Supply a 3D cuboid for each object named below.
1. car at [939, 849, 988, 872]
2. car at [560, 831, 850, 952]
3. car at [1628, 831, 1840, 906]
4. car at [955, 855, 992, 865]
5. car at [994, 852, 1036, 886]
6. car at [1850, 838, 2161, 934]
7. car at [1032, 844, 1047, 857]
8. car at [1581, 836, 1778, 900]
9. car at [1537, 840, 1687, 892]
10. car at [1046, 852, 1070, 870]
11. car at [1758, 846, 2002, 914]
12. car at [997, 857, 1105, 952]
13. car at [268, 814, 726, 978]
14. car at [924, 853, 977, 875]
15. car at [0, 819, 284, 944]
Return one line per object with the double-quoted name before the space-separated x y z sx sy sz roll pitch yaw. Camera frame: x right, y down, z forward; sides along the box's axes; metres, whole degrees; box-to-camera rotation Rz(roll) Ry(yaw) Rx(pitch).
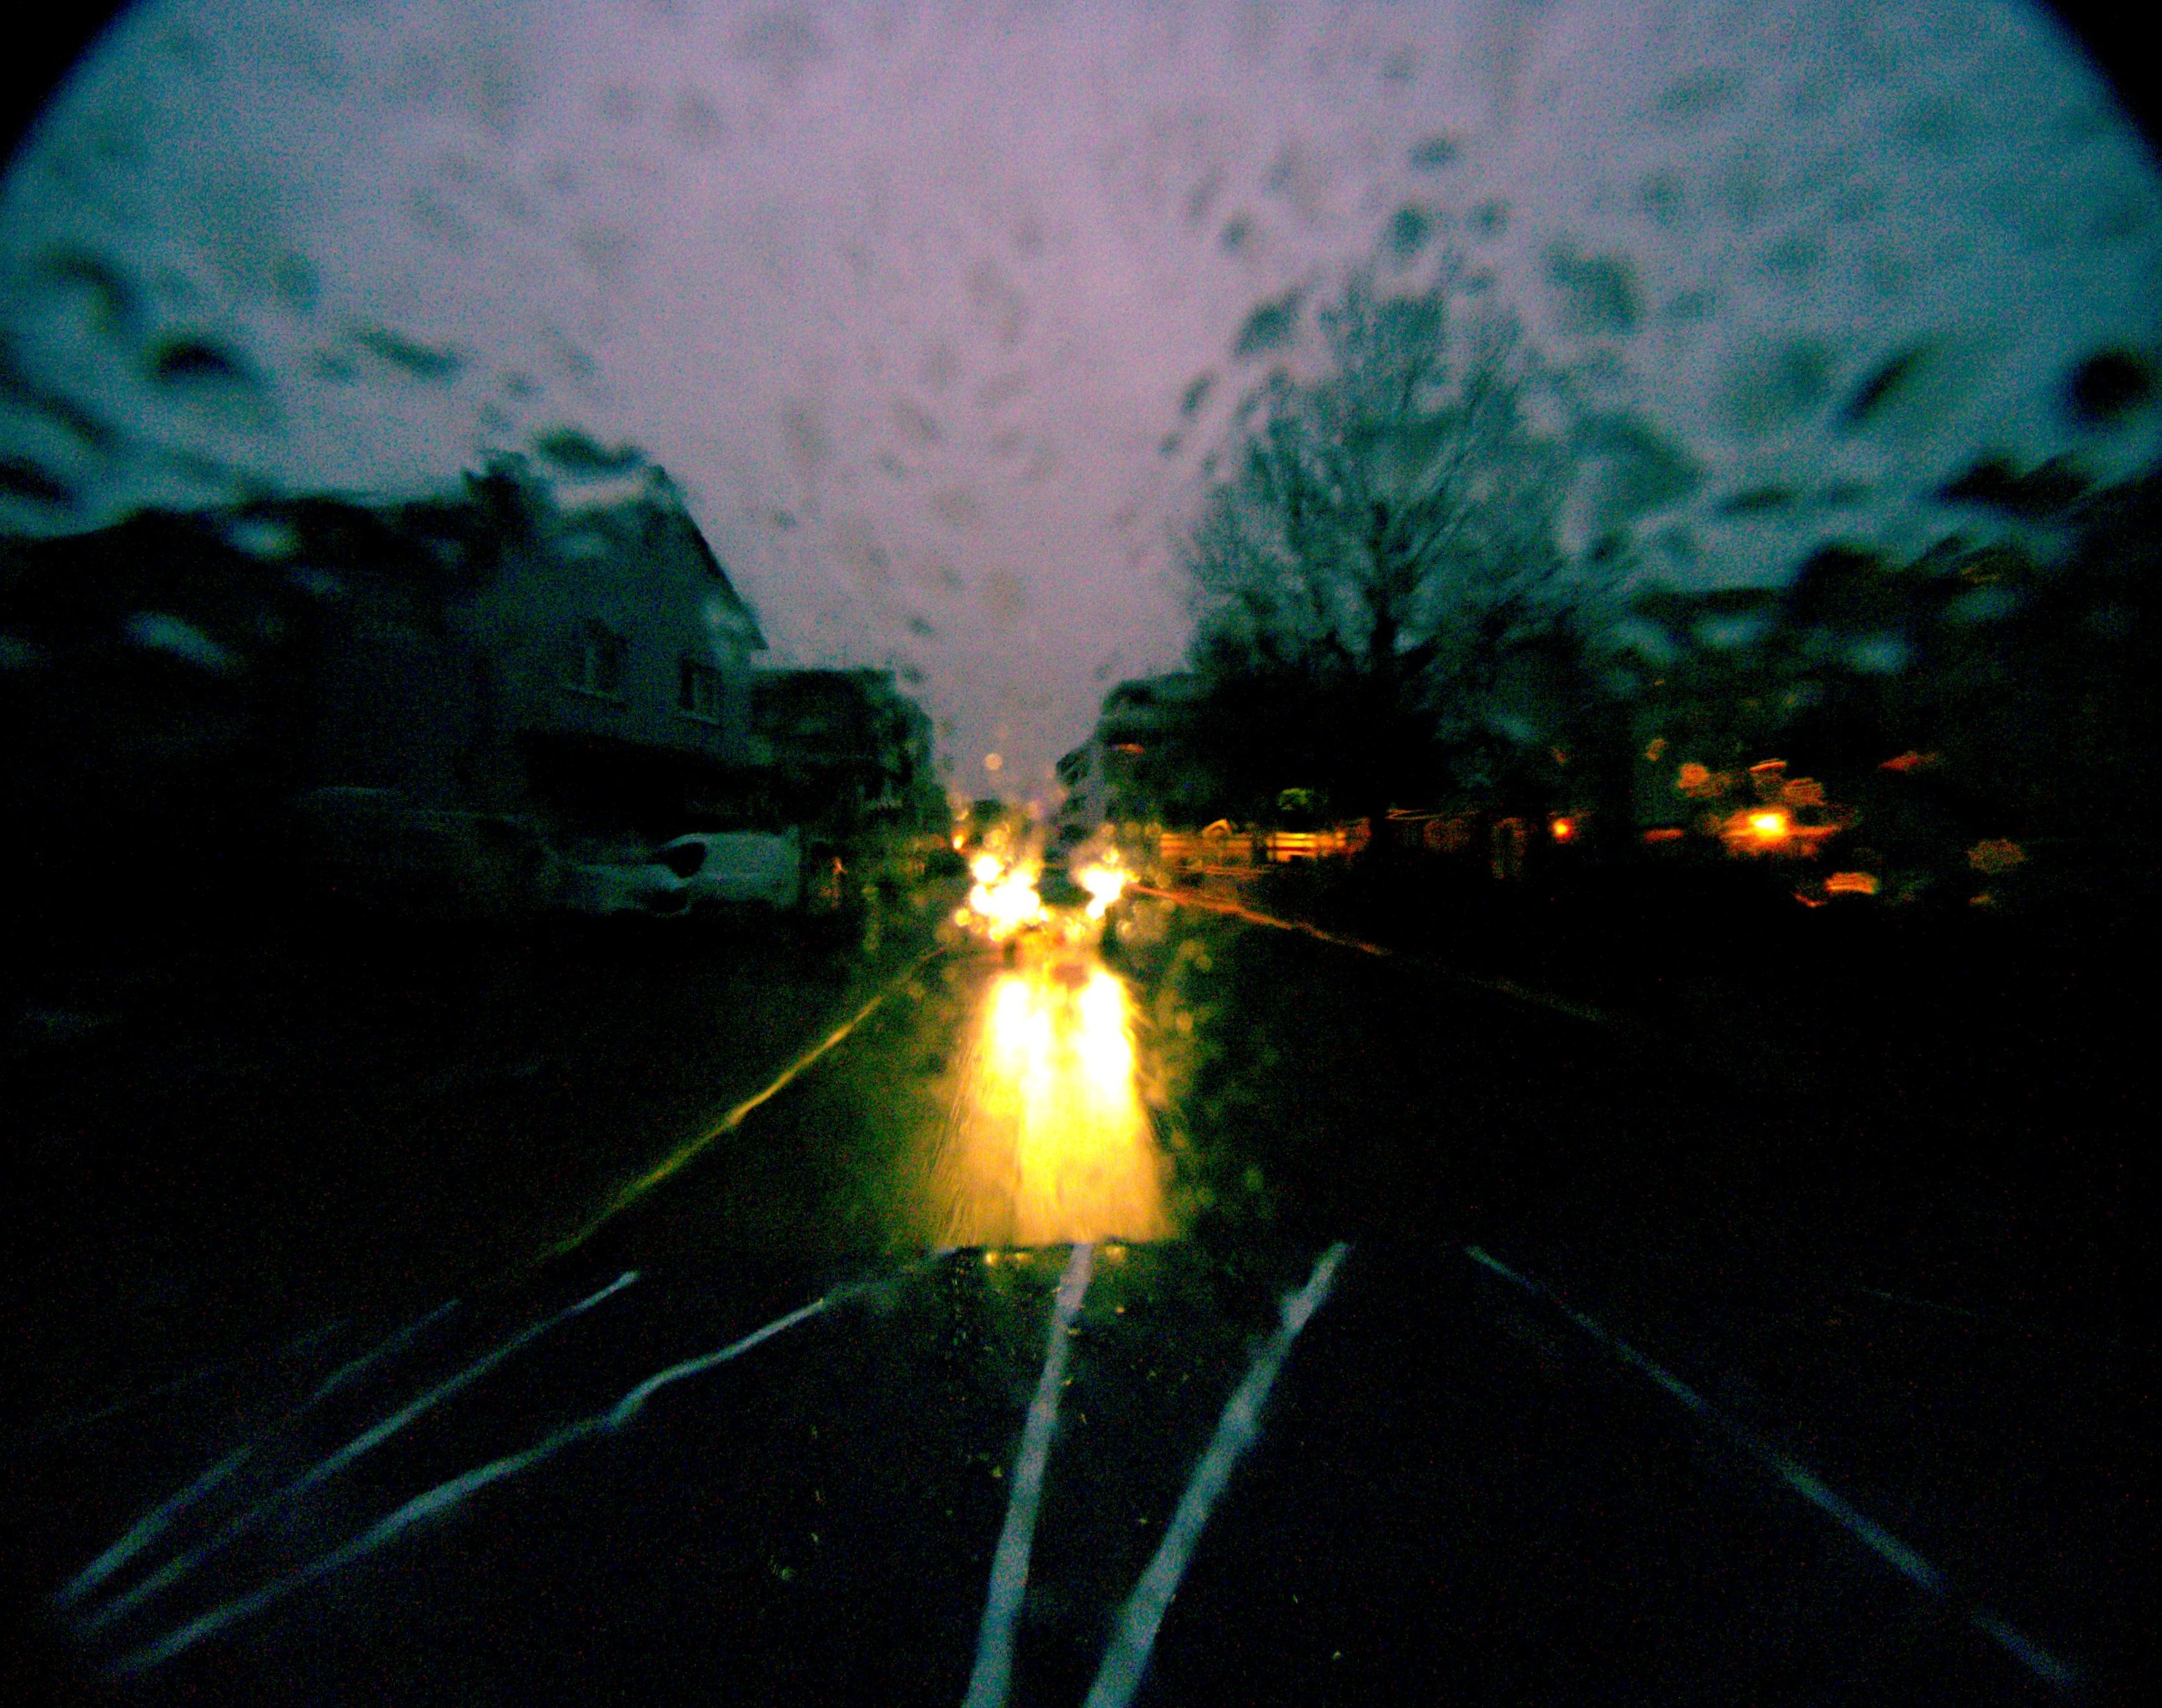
"car" -9.746 0.552 62.756 3.892 1.866 1.867 0 0 -12
"car" -6.335 0.594 13.145 4.052 1.833 1.863 2 1 1
"car" 15.290 0.338 18.063 3.625 1.602 1.613 -1 0 32
"car" -11.424 0.641 81.022 3.890 1.121 1.550 0 0 -7
"car" -3.433 0.708 38.961 1.925 1.608 3.865 -1 0 -8
"car" 15.359 0.486 12.553 3.476 1.401 1.613 -1 0 34
"car" -6.317 -0.528 114.886 1.838 2.002 3.697 -2 0 -8
"car" 16.277 0.355 20.919 3.990 1.623 1.637 0 0 24
"car" 17.675 0.377 25.532 3.989 1.623 1.637 0 0 29
"car" -2.107 0.618 69.338 1.900 1.607 3.825 -1 0 -6
"car" 15.692 0.496 15.153 3.047 1.213 1.613 -1 0 33
"car" -0.585 0.842 14.326 1.732 1.475 3.603 -2 0 -3
"car" -7.837 0.502 10.476 4.991 1.878 1.938 2 0 6
"car" -9.851 0.738 57.236 3.855 1.618 1.610 1 0 -11
"car" -15.123 0.346 11.784 3.993 1.613 1.882 3 1 10
